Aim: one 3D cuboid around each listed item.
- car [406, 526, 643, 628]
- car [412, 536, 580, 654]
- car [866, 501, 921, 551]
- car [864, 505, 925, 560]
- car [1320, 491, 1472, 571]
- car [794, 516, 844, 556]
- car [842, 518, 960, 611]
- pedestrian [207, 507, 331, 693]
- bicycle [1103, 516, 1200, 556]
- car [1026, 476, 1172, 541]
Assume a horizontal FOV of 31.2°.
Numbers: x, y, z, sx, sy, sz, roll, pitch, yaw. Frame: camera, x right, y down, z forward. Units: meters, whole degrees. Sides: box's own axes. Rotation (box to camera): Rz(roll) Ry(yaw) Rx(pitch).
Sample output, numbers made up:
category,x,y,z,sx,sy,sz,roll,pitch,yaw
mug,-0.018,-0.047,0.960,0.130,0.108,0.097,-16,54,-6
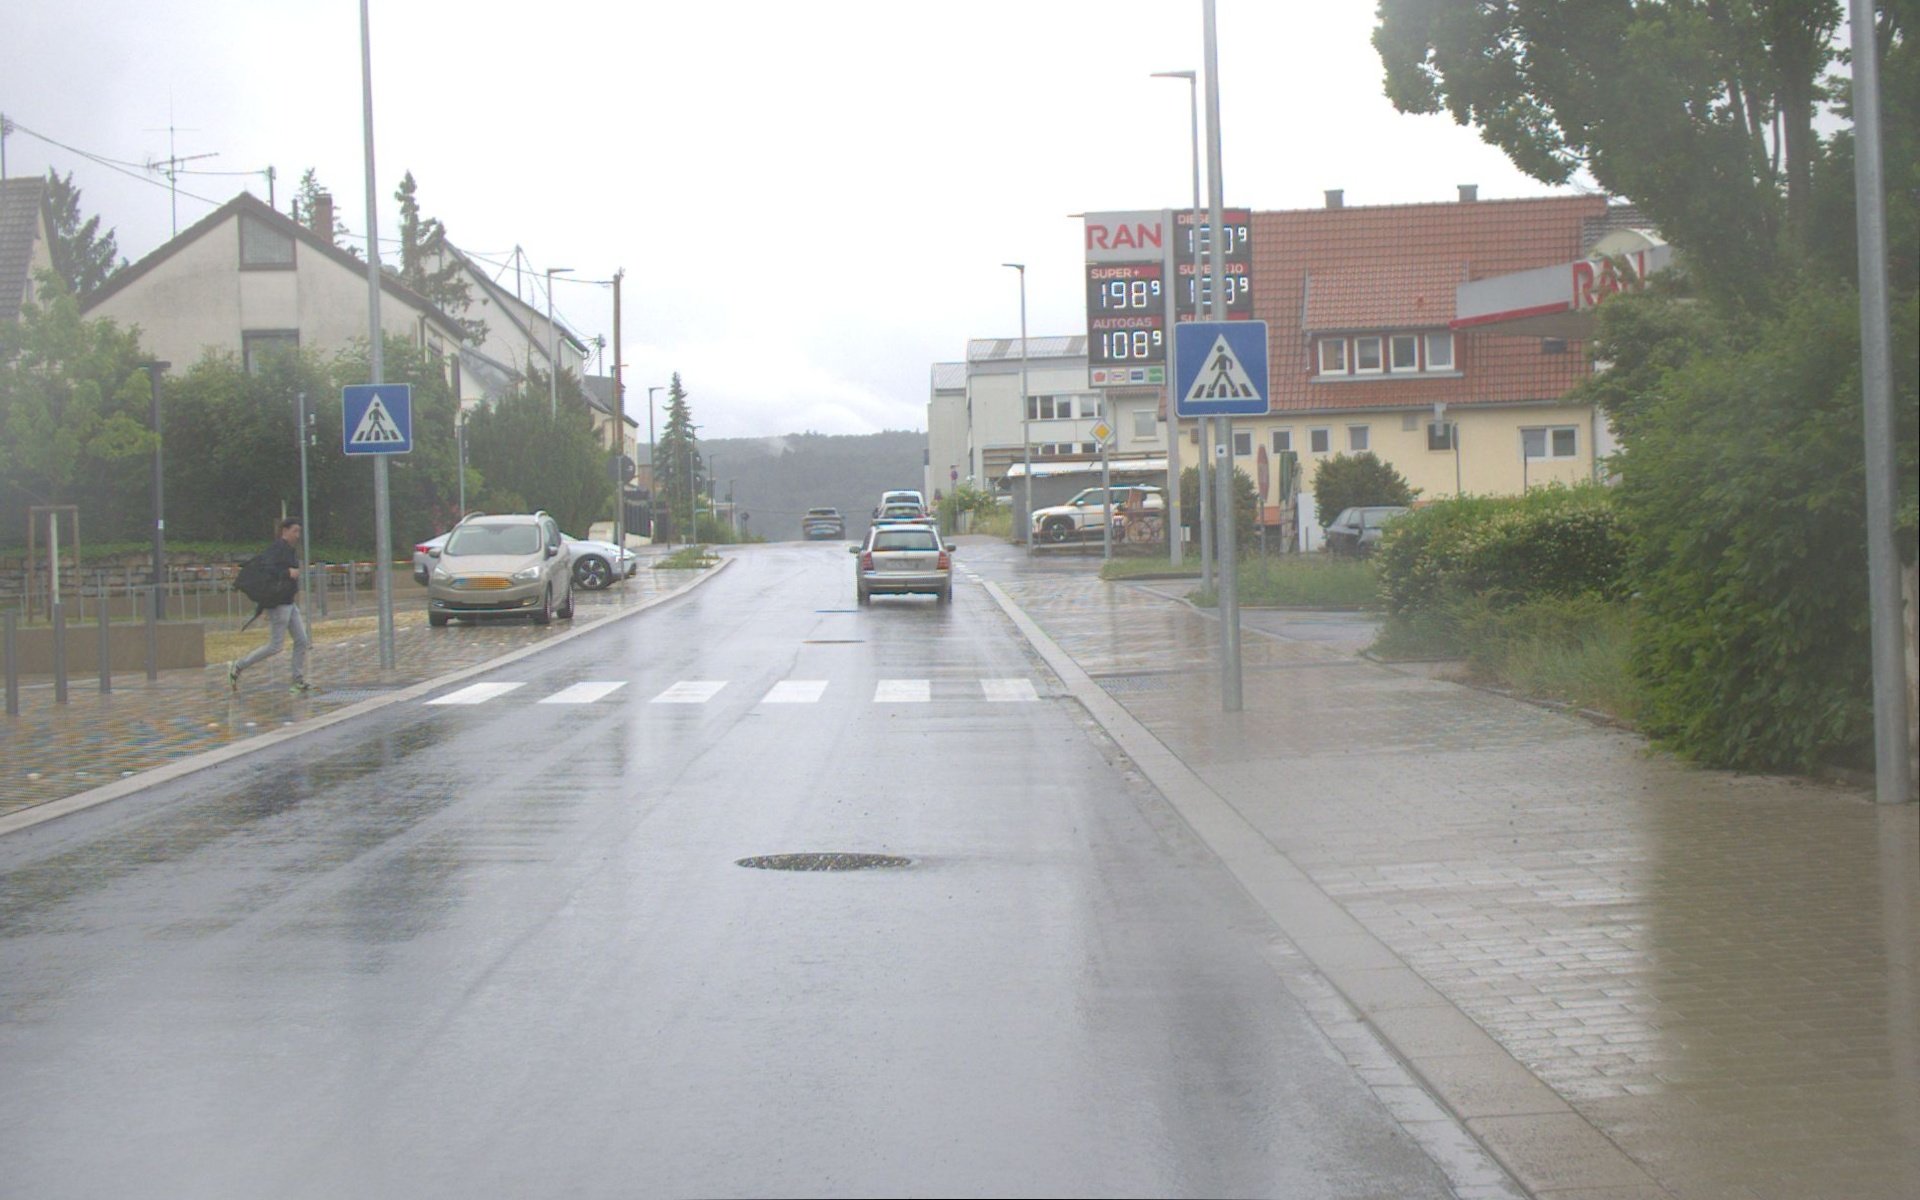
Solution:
category,x,y,z,sx,sy,sz,roll,pitch,yaw
car,-9.425,-0.494,74.602,4.753,2.007,2.000,2,-1,3
car,-6.997,-0.107,52.230,1.993,1.623,4.153,-2,2,-1
car,-2.501,-2.796,130.775,1.993,1.700,4.000,2,-1,-1
car,-2.238,-2.296,117.706,1.993,1.700,4.000,2,-1,-1
car,9.342,-1.454,73.963,1.993,1.547,4.001,2,-1,-12
car,-6.612,-2.998,161.450,2.154,1.700,4.000,2,-1,-1
car,-1.111,-0.611,62.512,1.948,1.550,4.000,2,-1,-3
pedestrian,-6.540,-0.009,32.574,1.013,1.718,0.772,-1,1,-3
bicycle,5.285,-1.776,95.279,0.668,1.063,3.629,3,-1,-32
car,4.096,-2.693,101.881,4.112,1.700,1.789,2,-1,-3
